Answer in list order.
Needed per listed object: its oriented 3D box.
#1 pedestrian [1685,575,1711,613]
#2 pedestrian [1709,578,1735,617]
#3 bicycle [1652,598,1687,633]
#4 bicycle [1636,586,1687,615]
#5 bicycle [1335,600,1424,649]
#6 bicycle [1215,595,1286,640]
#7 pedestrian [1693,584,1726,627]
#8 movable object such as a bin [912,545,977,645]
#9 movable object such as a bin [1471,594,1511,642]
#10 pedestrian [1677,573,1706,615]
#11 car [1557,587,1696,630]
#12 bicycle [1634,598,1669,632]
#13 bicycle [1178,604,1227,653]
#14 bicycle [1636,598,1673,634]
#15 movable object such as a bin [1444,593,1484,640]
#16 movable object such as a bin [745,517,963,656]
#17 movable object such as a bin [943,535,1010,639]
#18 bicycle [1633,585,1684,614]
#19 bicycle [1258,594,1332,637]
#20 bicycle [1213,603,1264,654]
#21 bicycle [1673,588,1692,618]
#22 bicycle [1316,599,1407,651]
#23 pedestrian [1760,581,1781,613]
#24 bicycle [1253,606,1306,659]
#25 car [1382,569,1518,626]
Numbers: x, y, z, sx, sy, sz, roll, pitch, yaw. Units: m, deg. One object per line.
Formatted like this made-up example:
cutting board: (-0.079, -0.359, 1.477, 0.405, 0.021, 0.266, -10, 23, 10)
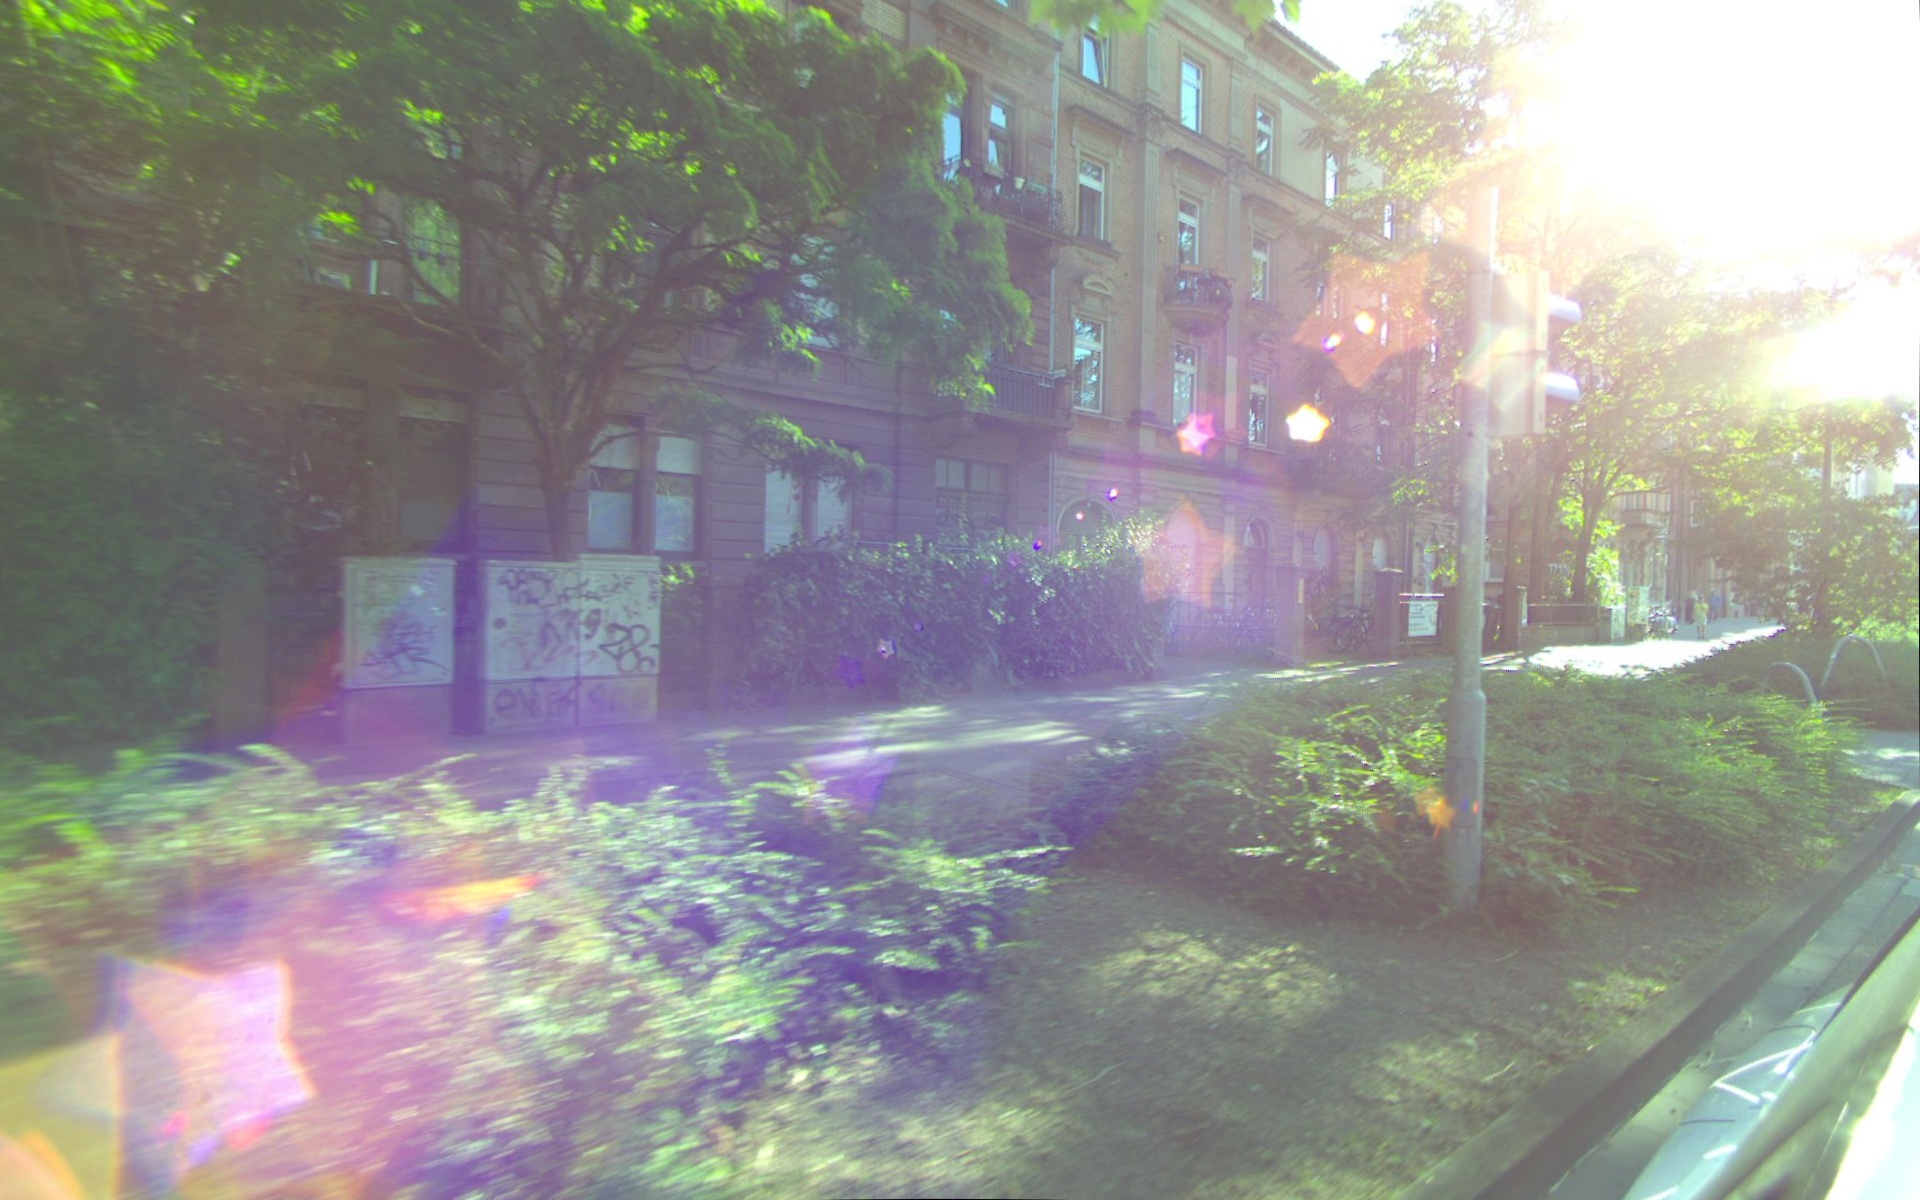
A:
pedestrian: (38.670, -0.334, 53.018, 1.117, 1.954, 0.823, 0, 1, -41)
pedestrian: (39.303, -0.132, 52.204, 1.117, 1.954, 0.823, 0, 1, -41)
bicycle: (23.499, 0.526, 33.493, 1.789, 1.061, 0.518, 4, 0, -42)
bicycle: (32.957, 0.004, 47.564, 1.879, 1.254, 0.484, 3, 4, 37)
bicycle: (8.976, 0.515, 21.699, 0.529, 0.936, 1.656, 4, 0, -40)
bicycle: (6.729, 0.387, 23.517, 0.434, 0.936, 1.601, 4, 0, -37)
pedestrian: (27.851, 0.208, 37.604, 0.649, 1.553, 0.703, 1, 1, 0)
movable object such as a bin: (-0.276, -0.094, 17.949, 0.730, 1.714, 0.755, 4, 0, -43)
movable object such as a bin: (12.705, 0.420, 24.219, 0.641, 1.072, 0.598, -2, 7, -41)
pedestrian: (34.556, -0.271, 47.812, 1.117, 1.954, 0.823, 0, 1, -41)
car: (26.518, 0.327, 40.360, 1.781, 1.433, 4.259, 4, 0, -41)
bicycle: (23.165, 0.501, 33.882, 1.789, 1.061, 0.518, 4, 0, -42)
bicycle: (4.537, 0.529, 18.924, 0.369, 0.865, 0.769, 4, 0, -44)
bicycle: (20.782, 0.489, 30.275, 1.692, 1.001, 0.526, 4, 0, -43)
movable object such as a bin: (12.293, 0.393, 24.690, 0.641, 1.072, 0.598, -2, 7, -41)
movable object such as a bin: (-1.671, -0.237, 16.378, 3.176, 2.020, 1.548, 0, 2, -42)
movable object such as a bin: (0.276, -0.219, 17.343, 0.730, 1.714, 0.755, 4, 0, -43)
bicycle: (32.548, -0.022, 47.154, 1.879, 1.254, 0.484, 3, 4, 37)
bicycle: (8.154, 0.363, 24.717, 0.434, 0.936, 1.735, 4, 0, -37)
bicycle: (5.043, 0.519, 18.316, 0.369, 0.865, 0.769, 4, 0, -44)
bicycle: (31.564, 0.119, 44.204, 0.488, 1.254, 1.863, 3, 4, 39)
bicycle: (8.247, 0.506, 20.852, 0.529, 0.936, 1.656, 4, 0, -40)
pedestrian: (50.208, -0.203, 62.674, 1.117, 1.954, 0.823, 0, 1, -41)
bicycle: (5.593, 0.564, 17.731, 0.369, 0.865, 0.769, 4, 0, -44)
car: (19.640, -0.133, 40.689, 1.745, 2.151, 4.583, 4, -1, -42)
